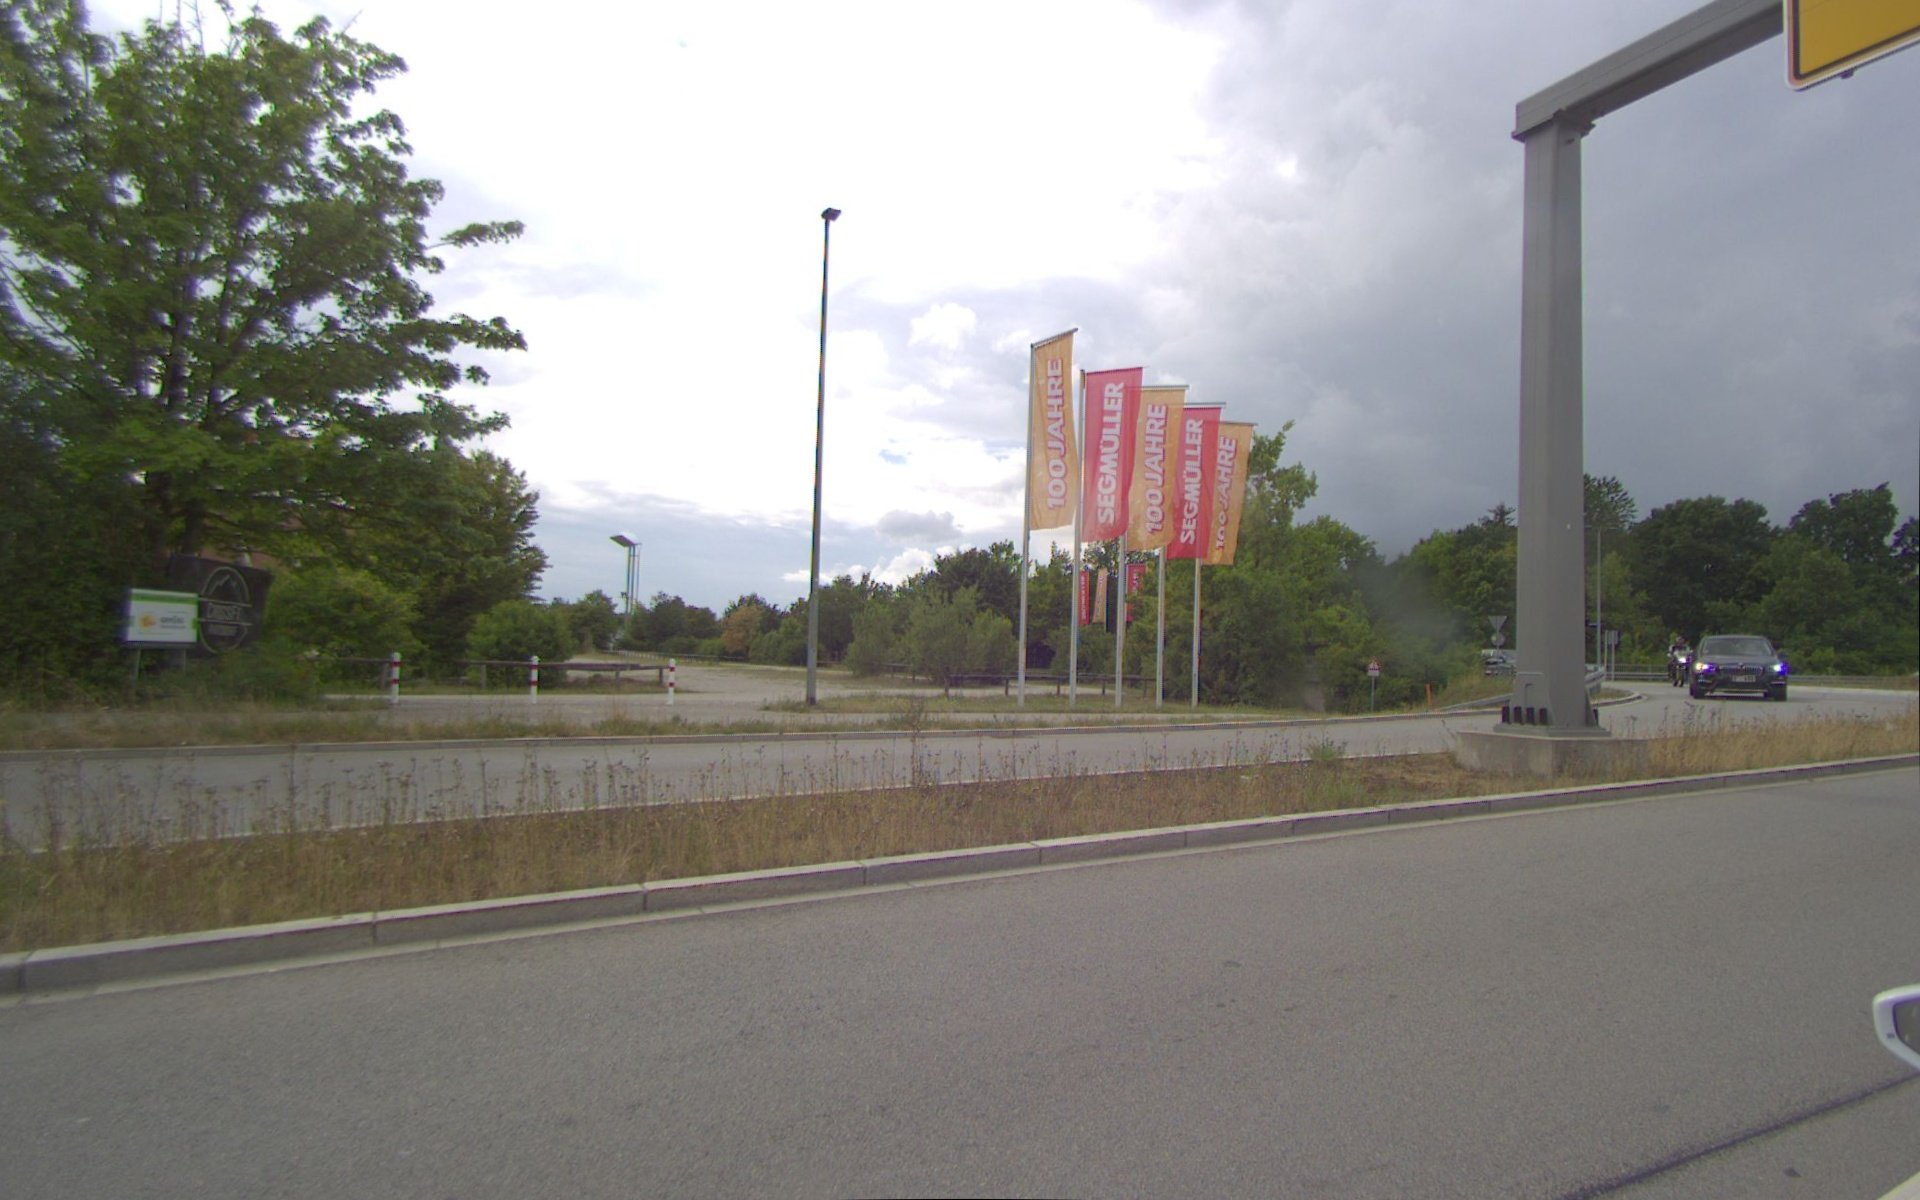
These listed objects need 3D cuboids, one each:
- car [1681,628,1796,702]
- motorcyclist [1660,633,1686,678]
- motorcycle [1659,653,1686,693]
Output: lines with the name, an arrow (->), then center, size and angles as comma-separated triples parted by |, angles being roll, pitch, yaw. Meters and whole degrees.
car -> 19.477, 1.627, 25.306 | 1.828, 1.686, 4.153 | -3, -4, 32
motorcyclist -> 24.812, 1.929, 34.960 | 0.720, 1.546, 0.654 | -1, -3, 36
motorcycle -> 24.906, 2.549, 35.092 | 0.739, 1.318, 2.477 | -1, -3, 36
